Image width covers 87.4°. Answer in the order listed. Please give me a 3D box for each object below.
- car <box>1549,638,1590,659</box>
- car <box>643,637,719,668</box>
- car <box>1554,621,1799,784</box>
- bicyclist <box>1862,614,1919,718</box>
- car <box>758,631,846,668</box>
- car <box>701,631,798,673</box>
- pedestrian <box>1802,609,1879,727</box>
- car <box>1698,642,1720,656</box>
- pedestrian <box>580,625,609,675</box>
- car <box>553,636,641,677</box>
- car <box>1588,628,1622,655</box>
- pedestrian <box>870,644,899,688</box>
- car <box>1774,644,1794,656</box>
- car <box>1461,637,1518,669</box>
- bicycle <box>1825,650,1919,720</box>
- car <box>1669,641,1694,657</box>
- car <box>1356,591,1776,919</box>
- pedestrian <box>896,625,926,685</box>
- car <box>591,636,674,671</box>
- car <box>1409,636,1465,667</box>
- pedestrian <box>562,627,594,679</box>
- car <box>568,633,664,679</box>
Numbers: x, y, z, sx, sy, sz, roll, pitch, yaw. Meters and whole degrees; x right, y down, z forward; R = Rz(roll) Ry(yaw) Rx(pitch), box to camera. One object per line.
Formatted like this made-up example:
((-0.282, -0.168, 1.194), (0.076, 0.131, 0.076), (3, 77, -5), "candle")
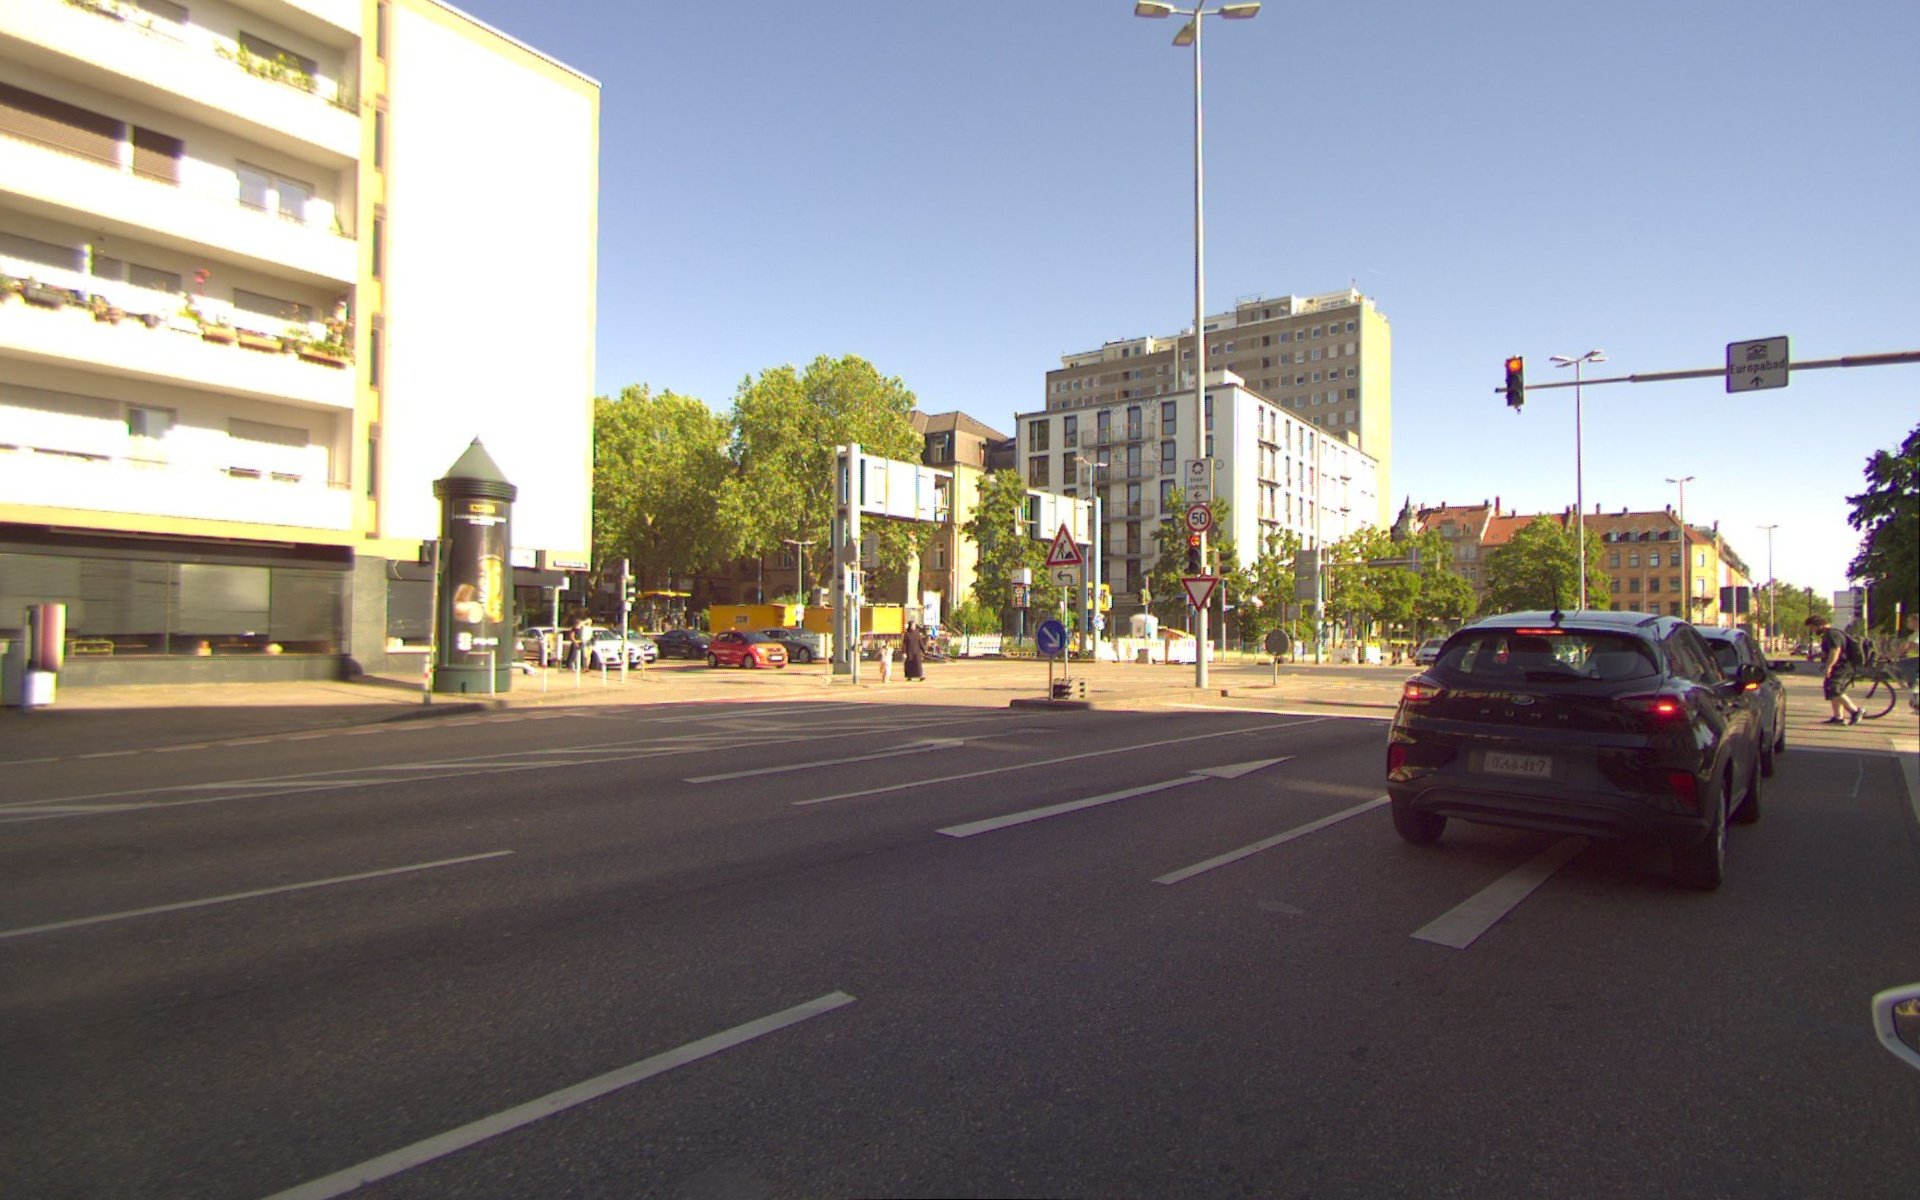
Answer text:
((43.877, 3.457, 72.328), (1.853, 1.467, 3.979), (-1, -2, 41), "car")
((-13.591, 2.525, 48.888), (3.595, 1.474, 1.838), (-2, -3, 39), "car")
((8.115, 0.997, 11.234), (1.810, 1.472, 3.967), (-1, -2, 42), "car")
((15.506, 1.071, 16.379), (1.151, 1.655, 0.726), (0, -1, 40), "bicyclist")
((-6.883, 2.152, 43.655), (3.595, 1.535, 1.838), (-2, -3, 39), "car")
((-8.130, 1.977, 38.705), (3.595, 1.535, 1.838), (-2, -3, 39), "car")
((13.403, 1.014, 15.316), (0.815, 1.724, 0.914), (0, -1, 37), "pedestrian")
((89.094, 5.805, 119.499), (1.790, 1.655, 3.979), (-1, -2, 41), "car")
((-12.016, 1.644, 33.043), (0.676, 1.631, 0.551), (0, -2, 16), "pedestrian")
((-14.107, 2.156, 38.960), (3.596, 1.535, 1.607), (-2, -3, 40), "car")
((53.427, 3.449, 83.199), (1.790, 2.162, 3.979), (-1, -2, 41), "car")
((-2.037, 1.783, 27.236), (0.650, 1.181, 0.677), (0, -1, 9), "pedestrian")
((104.119, 6.321, 126.940), (1.788, 1.467, 3.983), (-1, -2, 39), "car")
((27.952, 2.755, 52.963), (1.771, 1.638, 3.979), (-1, -2, 42), "car")
((15.465, 1.393, 16.399), (2.007, 1.075, 0.619), (0, -1, 40), "bicycle")
((77.912, 5.244, 108.508), (1.790, 1.655, 3.979), (-1, -2, 41), "car")
((4.360, 0.819, 6.953), (1.810, 1.599, 3.819), (-1, -2, 42), "car")
((-1.358, 1.532, 28.191), (0.816, 1.671, 0.676), (0, -1, -2), "pedestrian")
((-14.451, 2.320, 44.260), (3.595, 1.474, 1.838), (-2, -3, 39), "car")
((26.883, 2.860, 56.534), (1.853, 1.638, 3.979), (-1, -2, 41), "car")
((-12.176, 1.677, 32.011), (0.786, 1.648, 0.551), (0, -2, 16), "pedestrian")
((-12.210, 1.965, 35.574), (3.596, 1.535, 1.607), (-2, -3, 40), "car")
